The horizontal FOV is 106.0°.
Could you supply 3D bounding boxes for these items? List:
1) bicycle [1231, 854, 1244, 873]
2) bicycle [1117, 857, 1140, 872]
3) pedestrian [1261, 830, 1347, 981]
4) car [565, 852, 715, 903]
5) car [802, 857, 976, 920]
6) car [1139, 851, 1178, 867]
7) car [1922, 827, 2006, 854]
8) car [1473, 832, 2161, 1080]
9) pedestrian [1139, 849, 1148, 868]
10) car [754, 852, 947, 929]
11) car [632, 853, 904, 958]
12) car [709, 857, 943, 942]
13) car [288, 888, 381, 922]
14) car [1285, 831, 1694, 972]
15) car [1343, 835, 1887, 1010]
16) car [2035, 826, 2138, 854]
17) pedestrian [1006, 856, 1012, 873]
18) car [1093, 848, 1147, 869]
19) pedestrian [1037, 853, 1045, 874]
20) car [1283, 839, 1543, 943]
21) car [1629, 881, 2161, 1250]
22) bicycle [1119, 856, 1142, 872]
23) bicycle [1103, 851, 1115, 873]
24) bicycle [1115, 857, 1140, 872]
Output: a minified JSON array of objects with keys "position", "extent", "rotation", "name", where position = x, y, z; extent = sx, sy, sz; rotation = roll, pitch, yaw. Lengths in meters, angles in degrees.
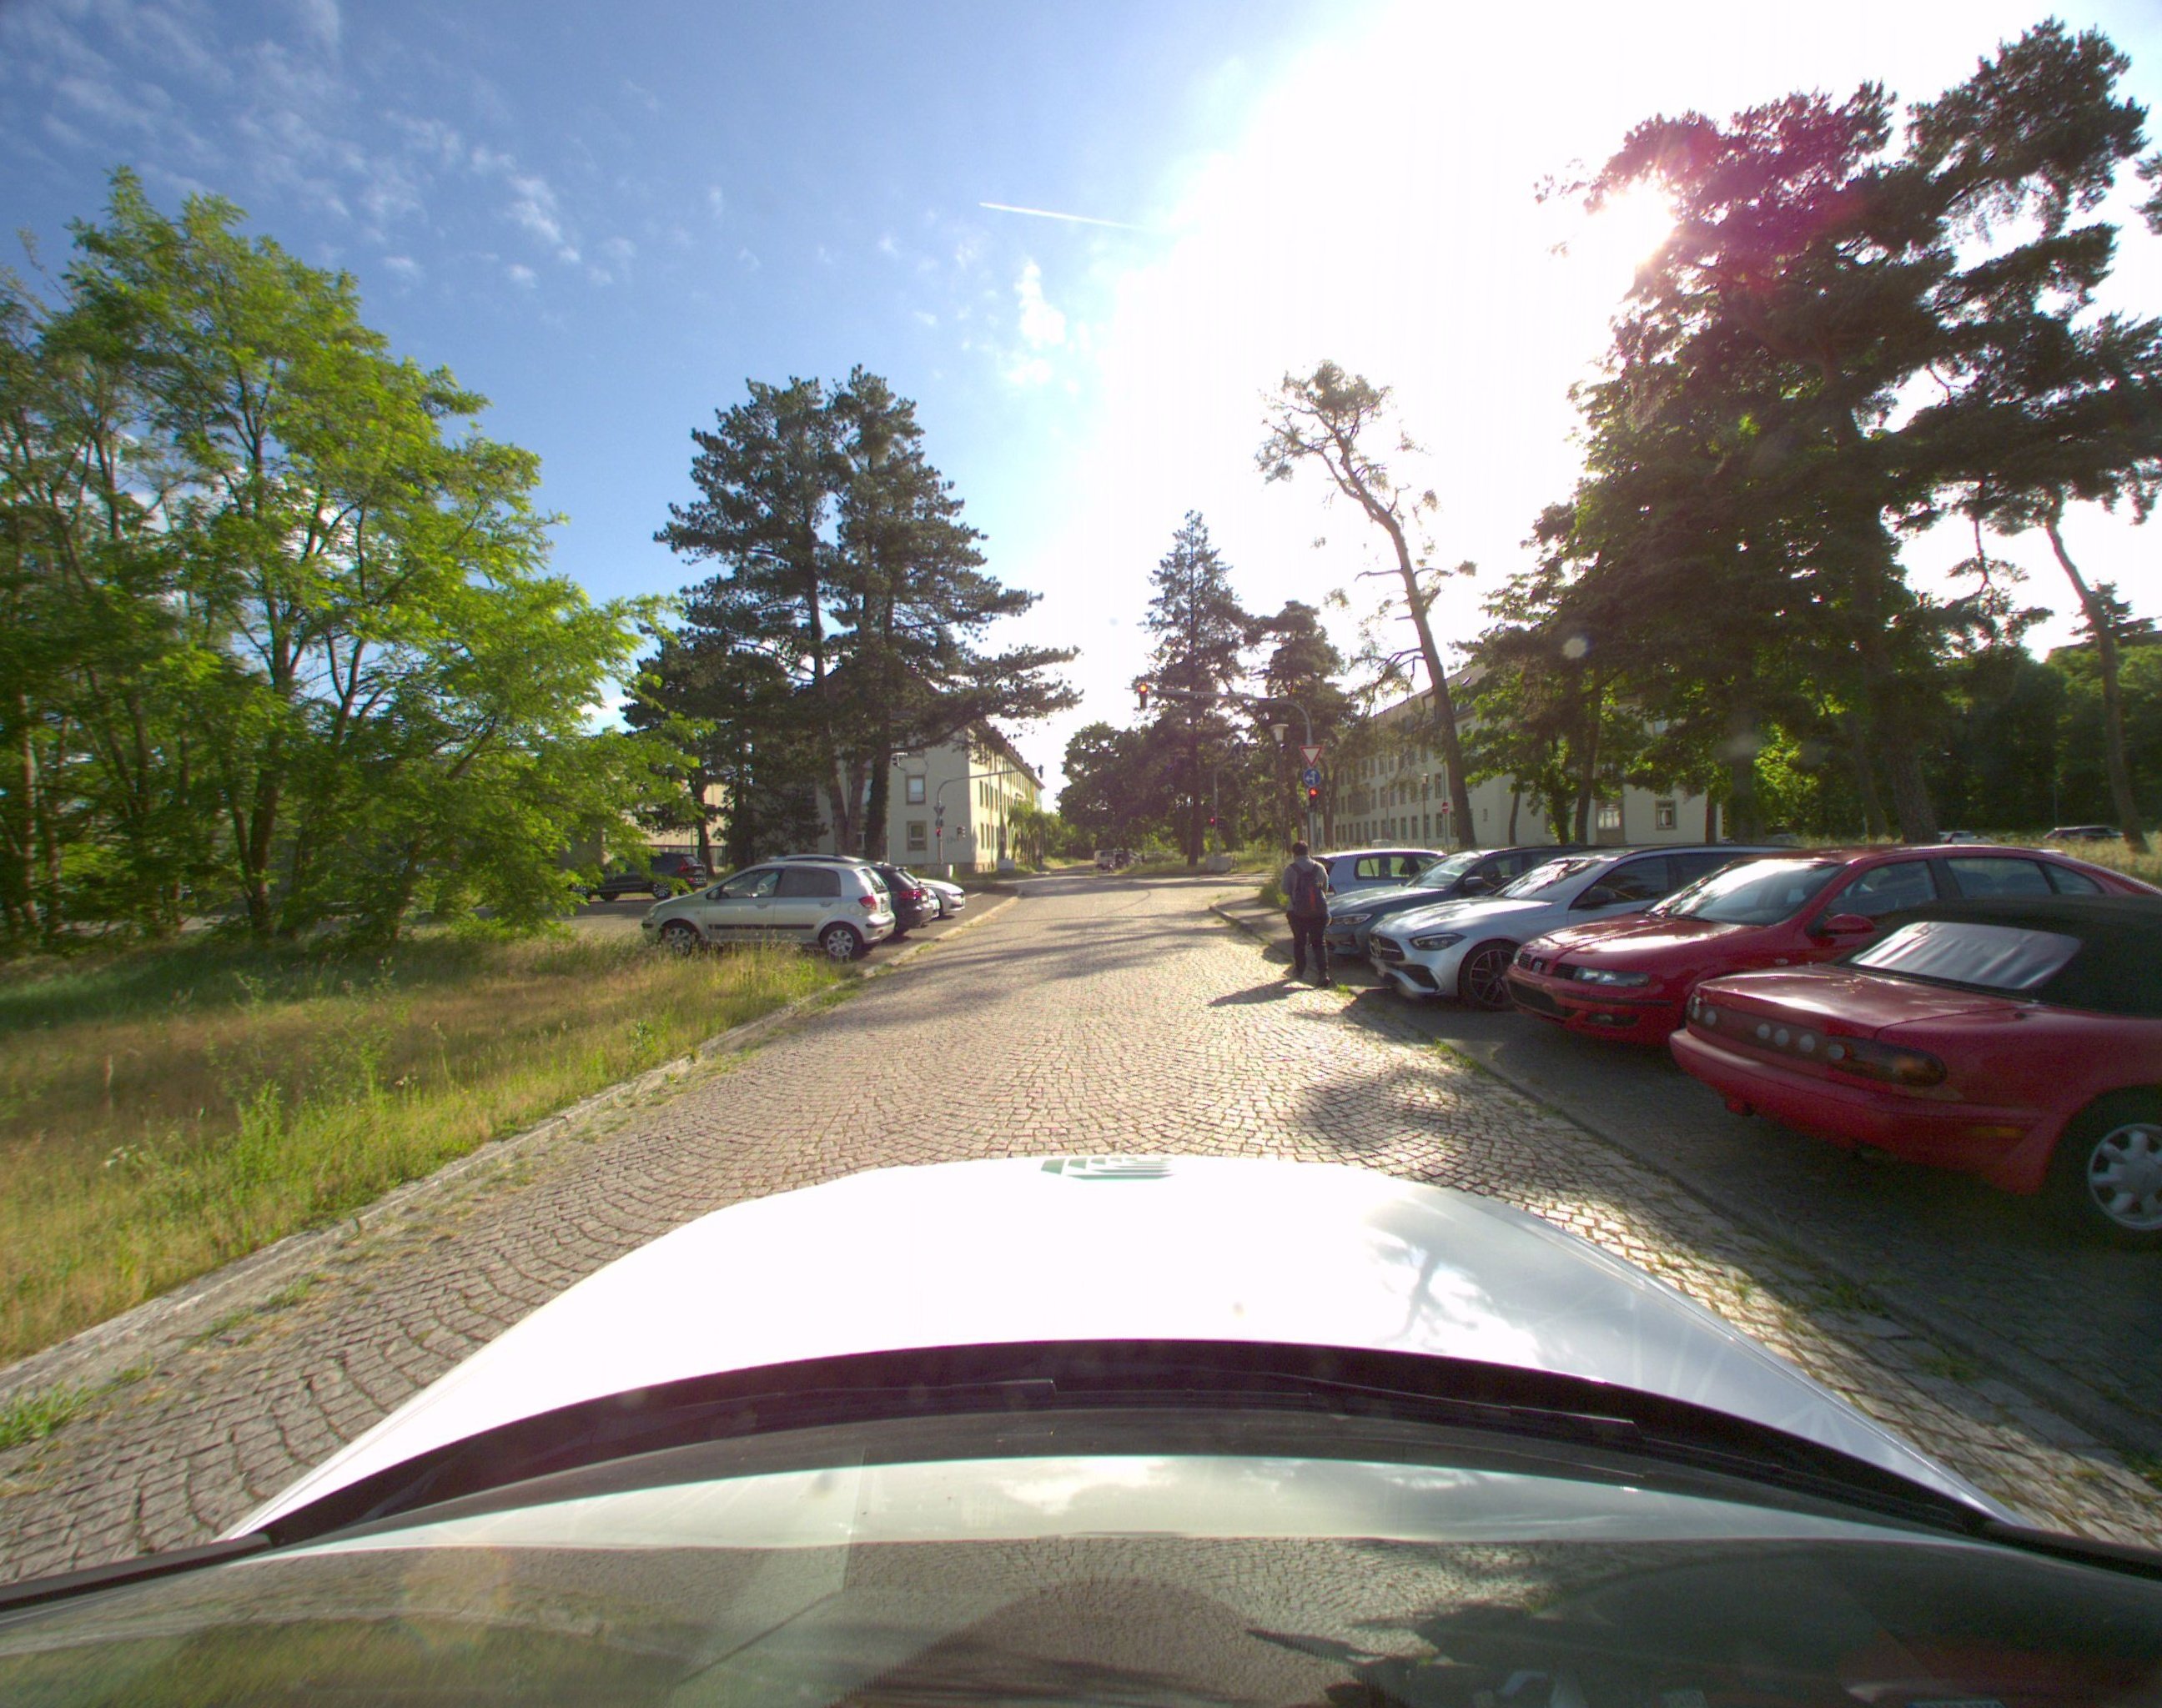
[{"position":[9.762,0.568,50.680],"extent":[0.717,1.115,2.592],"rotation":[-2,0,11],"name":"bicycle"},{"position":[3.655,0.833,63.266],"extent":[1.723,1.112,0.484],"rotation":[-2,0,-2],"name":"bicycle"},{"position":[2.694,0.601,9.905],"extent":[0.750,1.725,0.829],"rotation":[3,0,1],"name":"pedestrian"},{"position":[-15.492,0.789,28.752],"extent":[4.127,1.608,2.011],"rotation":[-2,0,2],"name":"car"},{"position":[-4.912,0.848,21.144],"extent":[3.966,1.496,1.776],"rotation":[1,0,6],"name":"car"},{"position":[8.027,0.498,84.463],"extent":[3.738,1.580,1.738],"rotation":[-1,0,-6],"name":"car"},{"position":[59.425,-0.875,54.872],"extent":[3.619,1.671,1.769],"rotation":[-2,0,4],"name":"car"},{"position":[5.333,0.658,6.104],"extent":[3.965,1.448,1.656],"rotation":[-2,0,1],"name":"car"},{"position":[6.075,0.454,78.895],"extent":[0.759,1.783,0.682],"rotation":[-2,0,-6],"name":"pedestrian"},{"position":[-5.147,0.789,18.532],"extent":[3.867,1.615,1.660],"rotation":[1,0,0],"name":"car"},{"position":[-4.881,0.781,13.090],"extent":[3.674,1.527,1.698],"rotation":[1,0,-1],"name":"car"},{"position":[-4.811,0.830,15.753],"extent":[3.924,1.445,1.691],"rotation":[2,0,0],"name":"car"},{"position":[-45.862,3.090,50.145],"extent":[1.856,1.778,4.007],"rotation":[-2,0,4],"name":"car"},{"position":[5.355,0.594,11.128],"extent":[4.606,1.455,1.869],"rotation":[-4,0,-1],"name":"car"},{"position":[5.196,0.629,8.381],"extent":[4.384,1.388,1.789],"rotation":[-3,0,0],"name":"car"},{"position":[58.437,-0.785,47.360],"extent":[3.619,1.497,1.769],"rotation":[-2,0,4],"name":"car"},{"position":[-6.801,1.010,76.883],"extent":[0.606,1.560,0.544],"rotation":[-1,0,-5],"name":"pedestrian"},{"position":[3.833,0.458,80.622],"extent":[5.063,1.918,1.995],"rotation":[-2,0,-8],"name":"car"},{"position":[-3.367,0.795,69.292],"extent":[0.604,1.752,0.630],"rotation":[-1,0,1],"name":"pedestrian"},{"position":[5.447,0.580,13.705],"extent":[3.660,1.443,1.666],"rotation":[-3,0,1],"name":"car"},{"position":[4.759,0.796,3.725],"extent":[3.447,1.242,1.537],"rotation":[-1,0,2],"name":"car"},{"position":[3.912,0.791,63.942],"extent":[1.723,1.164,0.560],"rotation":[-2,0,-2],"name":"bicycle"},{"position":[2.035,0.582,59.296],"extent":[0.750,1.580,2.537],"rotation":[-1,0,1],"name":"bicycle"},{"position":[3.570,0.834,62.723],"extent":[1.829,1.112,0.495],"rotation":[-2,0,-2],"name":"bicycle"}]
